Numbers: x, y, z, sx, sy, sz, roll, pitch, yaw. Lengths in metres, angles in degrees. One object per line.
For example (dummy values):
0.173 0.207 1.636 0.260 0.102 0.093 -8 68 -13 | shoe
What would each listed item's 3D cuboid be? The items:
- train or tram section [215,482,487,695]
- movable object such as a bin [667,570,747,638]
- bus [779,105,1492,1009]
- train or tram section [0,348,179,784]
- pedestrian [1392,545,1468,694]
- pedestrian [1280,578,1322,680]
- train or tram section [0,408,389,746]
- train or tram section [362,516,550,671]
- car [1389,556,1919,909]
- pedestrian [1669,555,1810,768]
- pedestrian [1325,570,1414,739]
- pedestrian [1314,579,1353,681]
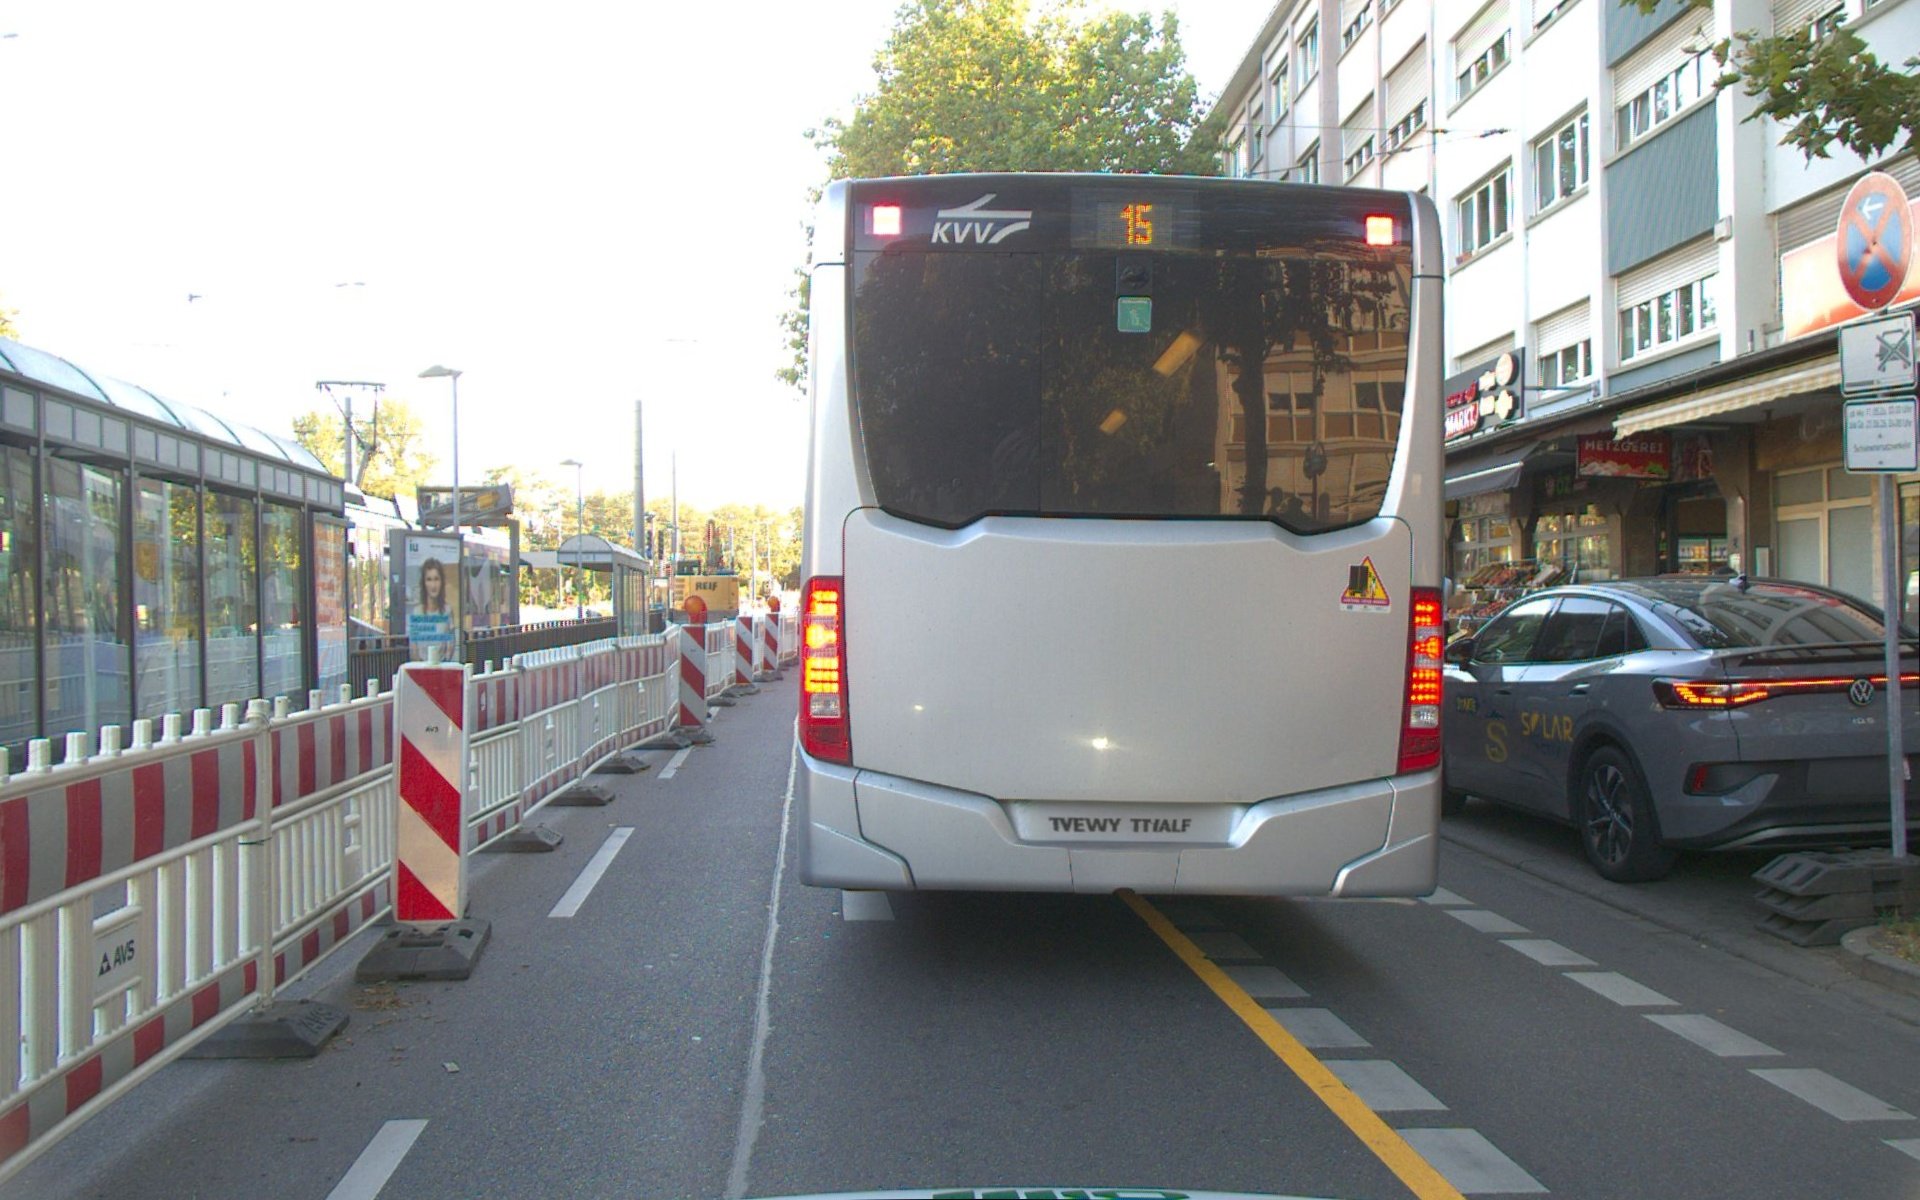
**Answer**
-11.648 -0.184 32.805 2.782 3.548 10.321 0 0 -7 | train or tram section
-9.639 0.154 63.338 2.752 2.505 3.995 -1 0 -6 | movable object such as a bin
0.596 -0.167 11.067 2.555 3.225 10.290 0 0 0 | bus
-9.060 -0.273 12.324 2.782 3.548 10.321 0 0 -7 | train or tram section
6.653 0.277 23.437 0.754 2.049 0.713 -2 0 -4 | pedestrian
6.932 0.584 33.681 0.677 2.049 0.696 -1 0 -1 | pedestrian
-10.357 -0.227 22.525 2.816 3.548 10.321 0 0 -7 | train or tram section
-12.805 -0.141 43.019 2.762 3.548 10.324 0 0 -6 | train or tram section
4.236 0.622 10.122 1.706 1.625 4.294 -3 0 -5 | car
6.152 0.467 13.044 0.870 1.608 0.739 0 -1 -44 | pedestrian
4.351 0.569 17.604 0.738 1.756 0.660 -1 0 -3 | pedestrian
7.611 0.610 33.726 0.600 2.049 0.696 -1 0 -1 | pedestrian
